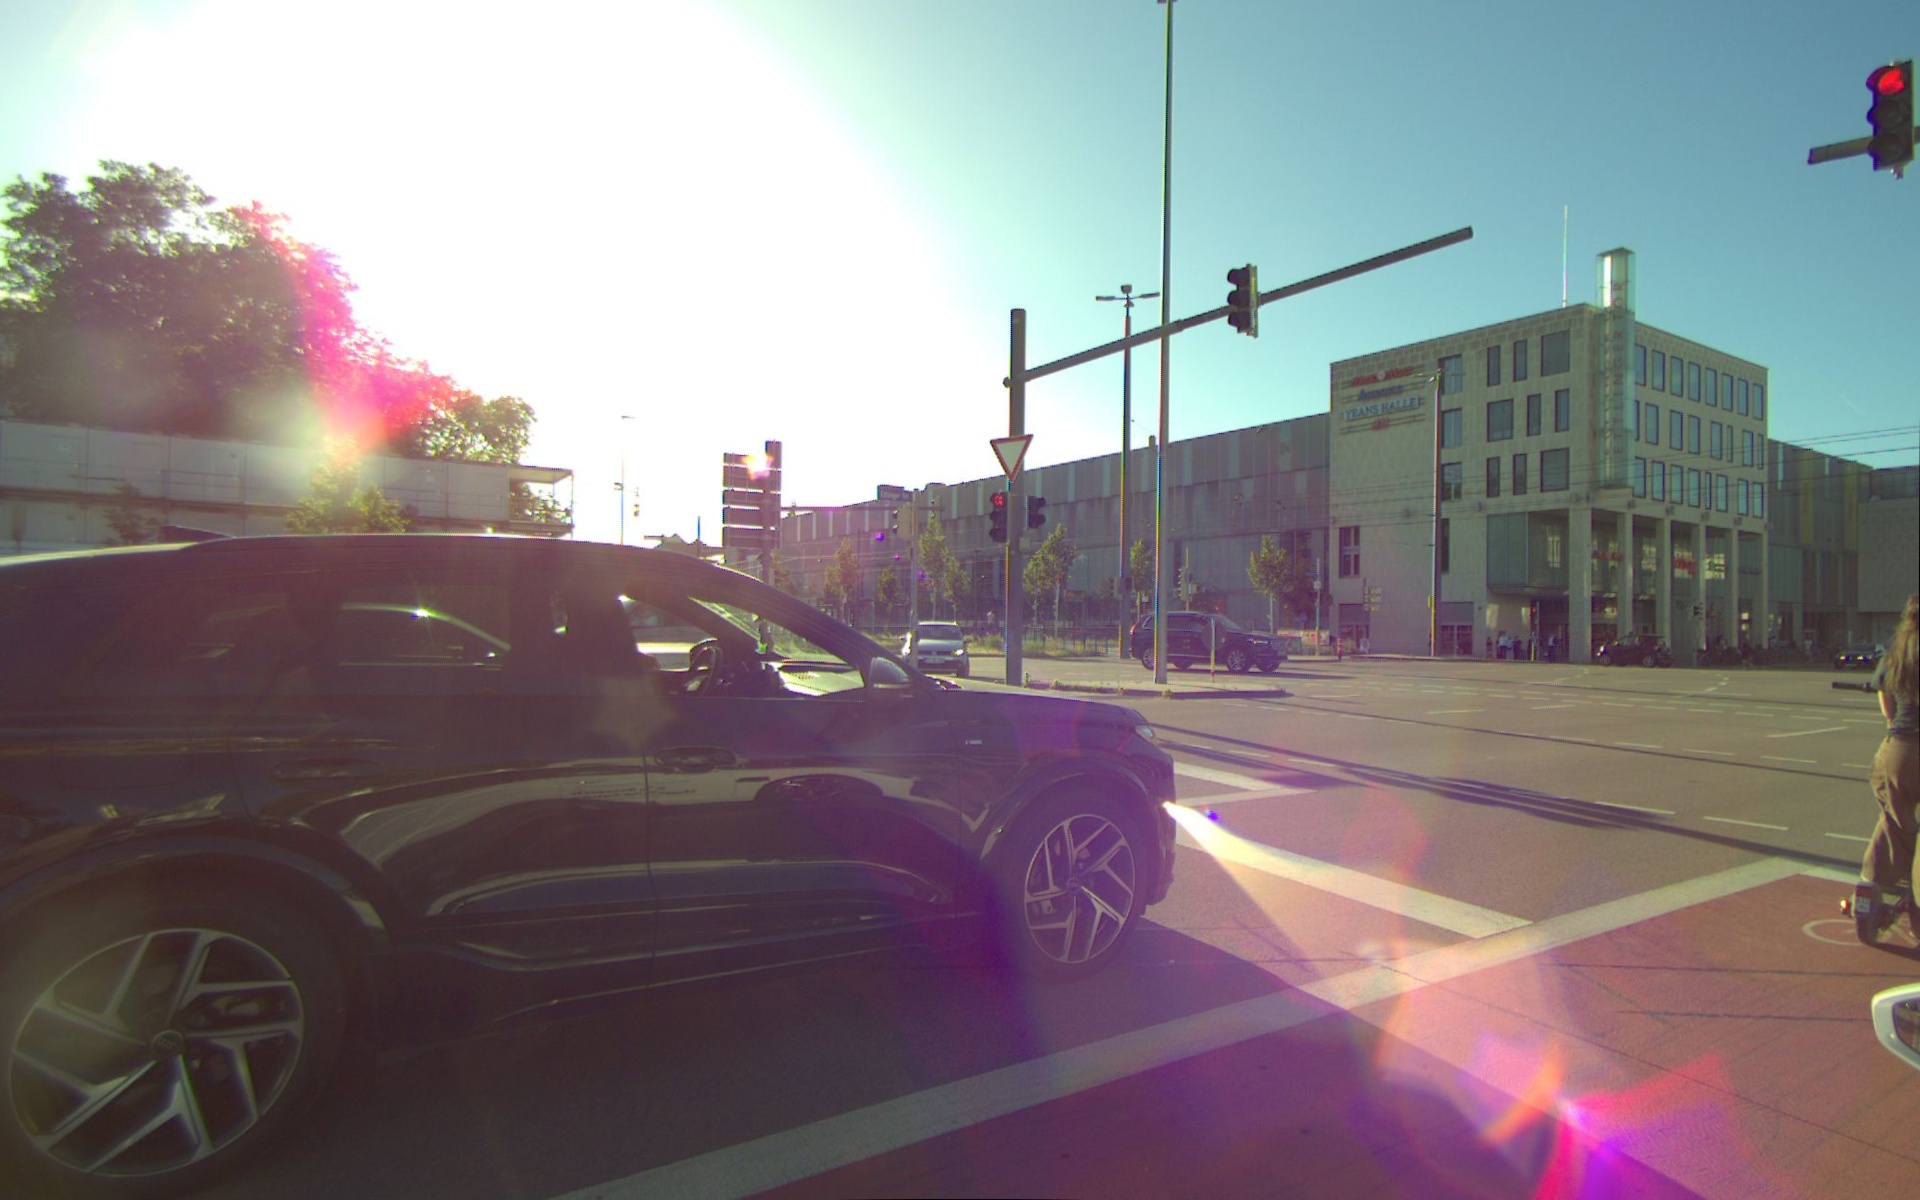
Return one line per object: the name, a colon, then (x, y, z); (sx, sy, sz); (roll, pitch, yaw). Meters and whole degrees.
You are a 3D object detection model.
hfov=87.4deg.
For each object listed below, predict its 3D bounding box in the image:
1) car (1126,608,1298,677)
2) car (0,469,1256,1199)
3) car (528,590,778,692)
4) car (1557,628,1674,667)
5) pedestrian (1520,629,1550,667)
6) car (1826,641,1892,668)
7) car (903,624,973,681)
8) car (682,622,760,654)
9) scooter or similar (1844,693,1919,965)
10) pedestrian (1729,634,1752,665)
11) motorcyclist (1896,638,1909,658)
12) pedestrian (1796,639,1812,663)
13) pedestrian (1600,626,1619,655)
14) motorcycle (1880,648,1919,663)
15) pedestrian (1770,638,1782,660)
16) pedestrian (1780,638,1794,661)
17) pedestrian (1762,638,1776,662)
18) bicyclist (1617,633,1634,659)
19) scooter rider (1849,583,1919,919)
car: (7.455, 1.211, 30.093); (1.873, 1.888, 4.771); (2, -2, -43)
car: (-1.238, 0.605, 4.073); (4.612, 1.729, 2.154); (1, 0, -32)
car: (-6.490, 0.853, 21.720); (1.861, 1.947, 4.903); (-1, -2, 43)
car: (31.230, 2.230, 47.982); (1.805, 1.706, 4.379); (1, -2, -32)
pedestrian: (26.165, 2.194, 45.700); (0.994, 1.697, 0.818); (1, -1, -33)
car: (49.689, 2.979, 55.509); (3.975, 1.375, 1.668); (1, -1, -31)
car: (-0.574, 1.327, 26.475); (1.695, 1.395, 3.943); (1, -1, -1)
car: (-12.828, 2.014, 53.689); (1.984, 1.585, 5.040); (2, -2, -40)
scooter or similar: (4.376, 1.016, 4.667); (0.832, 1.122, 0.303); (2, -1, -42)
pedestrian: (42.484, 2.677, 54.657); (0.617, 1.660, 0.775); (1, -1, -24)
motorcyclist: (70.855, 3.608, 75.522); (0.657, 1.424, 0.623); (2, 0, -38)
pedestrian: (62.204, 3.778, 74.042); (0.681, 1.752, 0.472); (2, 0, 9)
pedestrian: (42.374, 2.632, 65.563); (0.529, 1.889, 0.943); (1, -1, -13)
motorcycle: (70.818, 4.151, 75.263); (1.106, 1.006, 2.582); (2, 0, -38)
pedestrian: (62.756, 3.758, 77.290); (0.510, 1.705, 0.472); (2, 0, 9)
pedestrian: (63.175, 3.795, 76.726); (0.616, 1.752, 0.471); (2, 0, -1)
pedestrian: (60.607, 3.751, 75.243); (0.615, 1.752, 0.472); (2, 0, 4)
bicyclist: (37.073, 2.556, 55.959); (0.577, 1.467, 0.628); (0, -1, 9)
scooter rider: (4.624, 0.700, 4.755); (0.445, 1.550, 0.548); (1, -1, -38)
